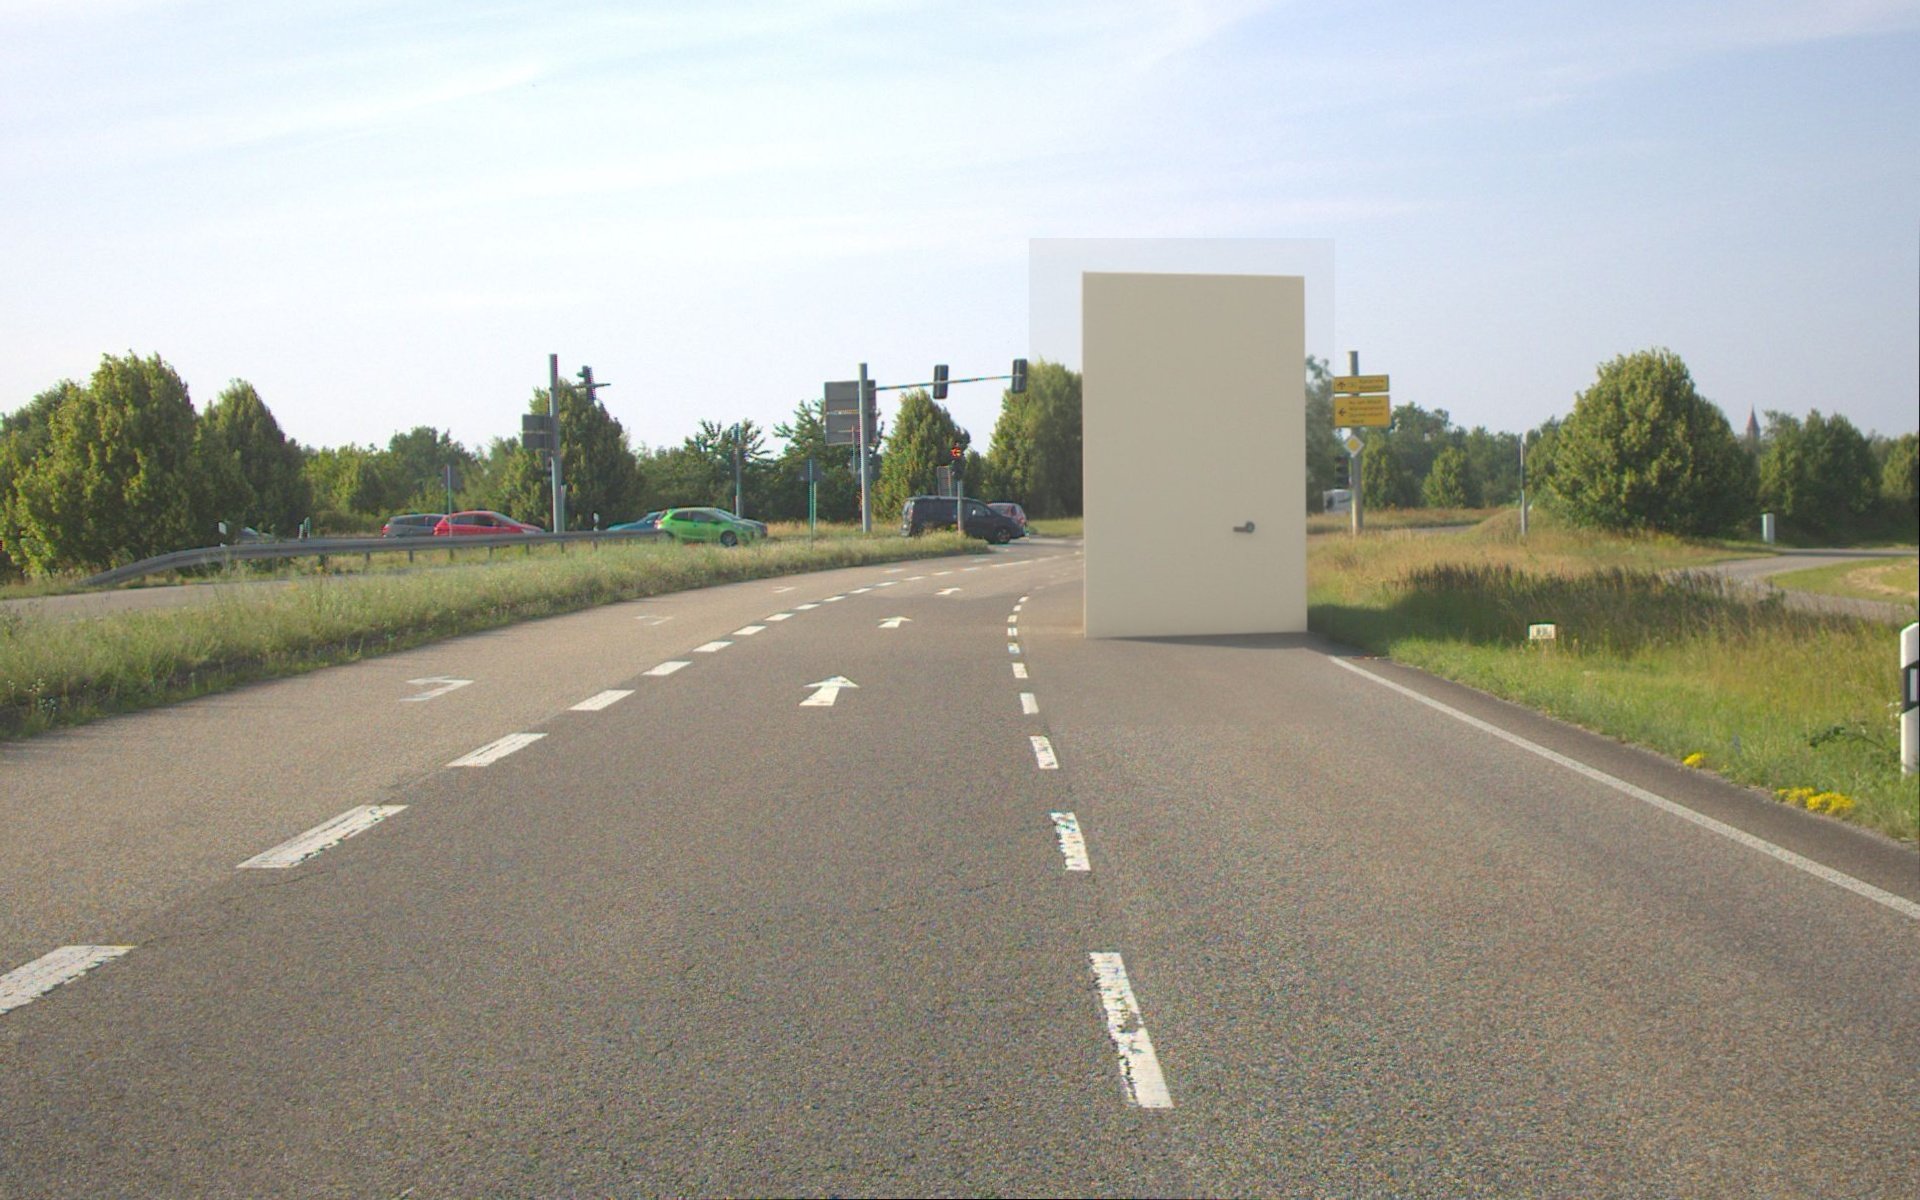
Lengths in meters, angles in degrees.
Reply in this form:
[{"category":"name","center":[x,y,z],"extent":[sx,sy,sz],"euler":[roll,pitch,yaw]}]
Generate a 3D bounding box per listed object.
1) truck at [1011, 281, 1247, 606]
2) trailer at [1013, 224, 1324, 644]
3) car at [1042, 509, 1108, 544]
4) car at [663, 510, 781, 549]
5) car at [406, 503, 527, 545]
[{"category":"truck","center":[2.474,-2.331,52.359],"extent":[3.300,4.641,5.732],"euler":[1,1,0]},{"category":"trailer","center":[2.431,-2.074,45.046],"extent":[3.281,4.665,13.149],"euler":[1,2,0]},{"category":"car","center":[5.062,-3.252,150.830],"extent":[1.787,1.483,4.648],"euler":[0,2,16]},{"category":"car","center":[-9.093,-2.682,131.400],"extent":[4.421,1.412,1.920],"euler":[1,1,-2]},{"category":"car","center":[-19.159,-2.936,133.551],"extent":[4.265,1.559,1.901],"euler":[1,0,6]}]
